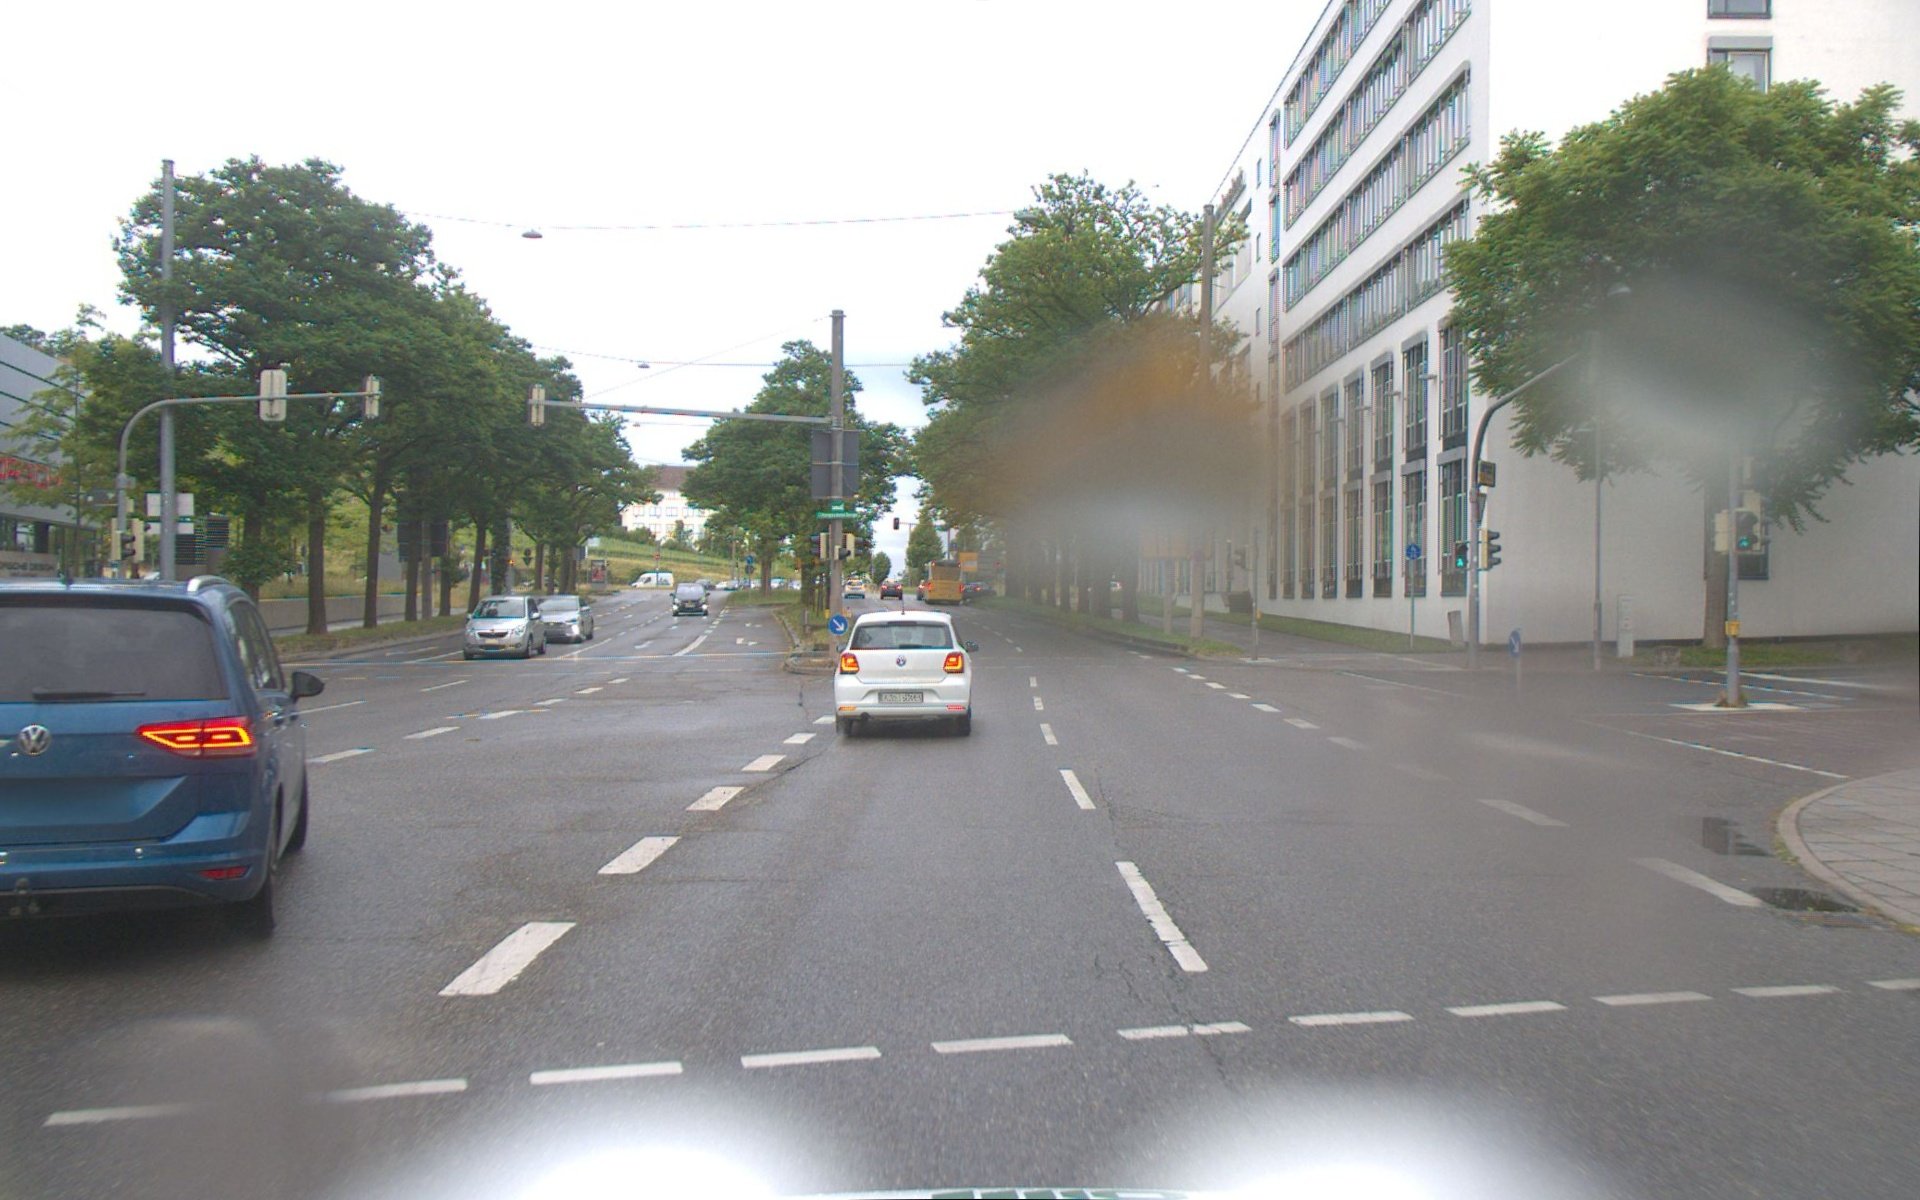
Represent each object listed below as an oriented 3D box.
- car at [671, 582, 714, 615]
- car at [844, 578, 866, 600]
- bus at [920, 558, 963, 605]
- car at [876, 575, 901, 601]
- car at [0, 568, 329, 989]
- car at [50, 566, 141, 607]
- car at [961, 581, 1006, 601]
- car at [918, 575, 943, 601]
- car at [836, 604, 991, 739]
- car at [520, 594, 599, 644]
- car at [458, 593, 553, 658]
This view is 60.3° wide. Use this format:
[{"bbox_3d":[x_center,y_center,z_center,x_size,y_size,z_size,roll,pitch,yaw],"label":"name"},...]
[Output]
[{"bbox_3d":[-14.043,-0.104,87.069,1.956,1.644,5.113,-1,1,-7],"label":"car"},{"bbox_3d":[-8.727,-0.872,137.030,1.759,1.772,3.997,-1,0,-4],"label":"car"},{"bbox_3d":[-1.432,-1.417,123.179,2.772,3.324,9.995,1,1,-3],"label":"bus"},{"bbox_3d":[-5.883,-0.987,135.438,1.954,2.049,3.997,0,0,-3],"label":"car"},{"bbox_3d":[-4.252,0.701,8.404,1.745,1.624,4.175,0,0,-18],"label":"car"},{"bbox_3d":[-44.139,-0.706,84.524,3.932,2.049,1.986,-1,1,-23],"label":"car"},{"bbox_3d":[1.955,-0.724,135.399,1.670,1.542,3.805,0,0,42],"label":"car"},{"bbox_3d":[-2.449,-0.998,136.331,1.954,2.049,3.998,0,1,-3],"label":"car"},{"bbox_3d":[-0.594,0.831,20.980,1.758,1.528,3.998,1,0,-2],"label":"car"},{"bbox_3d":[-12.659,0.568,52.560,1.779,1.436,4.650,-1,1,-6],"label":"car"},{"bbox_3d":[-11.685,0.632,42.729,1.716,1.547,3.812,-1,1,-6],"label":"car"}]
